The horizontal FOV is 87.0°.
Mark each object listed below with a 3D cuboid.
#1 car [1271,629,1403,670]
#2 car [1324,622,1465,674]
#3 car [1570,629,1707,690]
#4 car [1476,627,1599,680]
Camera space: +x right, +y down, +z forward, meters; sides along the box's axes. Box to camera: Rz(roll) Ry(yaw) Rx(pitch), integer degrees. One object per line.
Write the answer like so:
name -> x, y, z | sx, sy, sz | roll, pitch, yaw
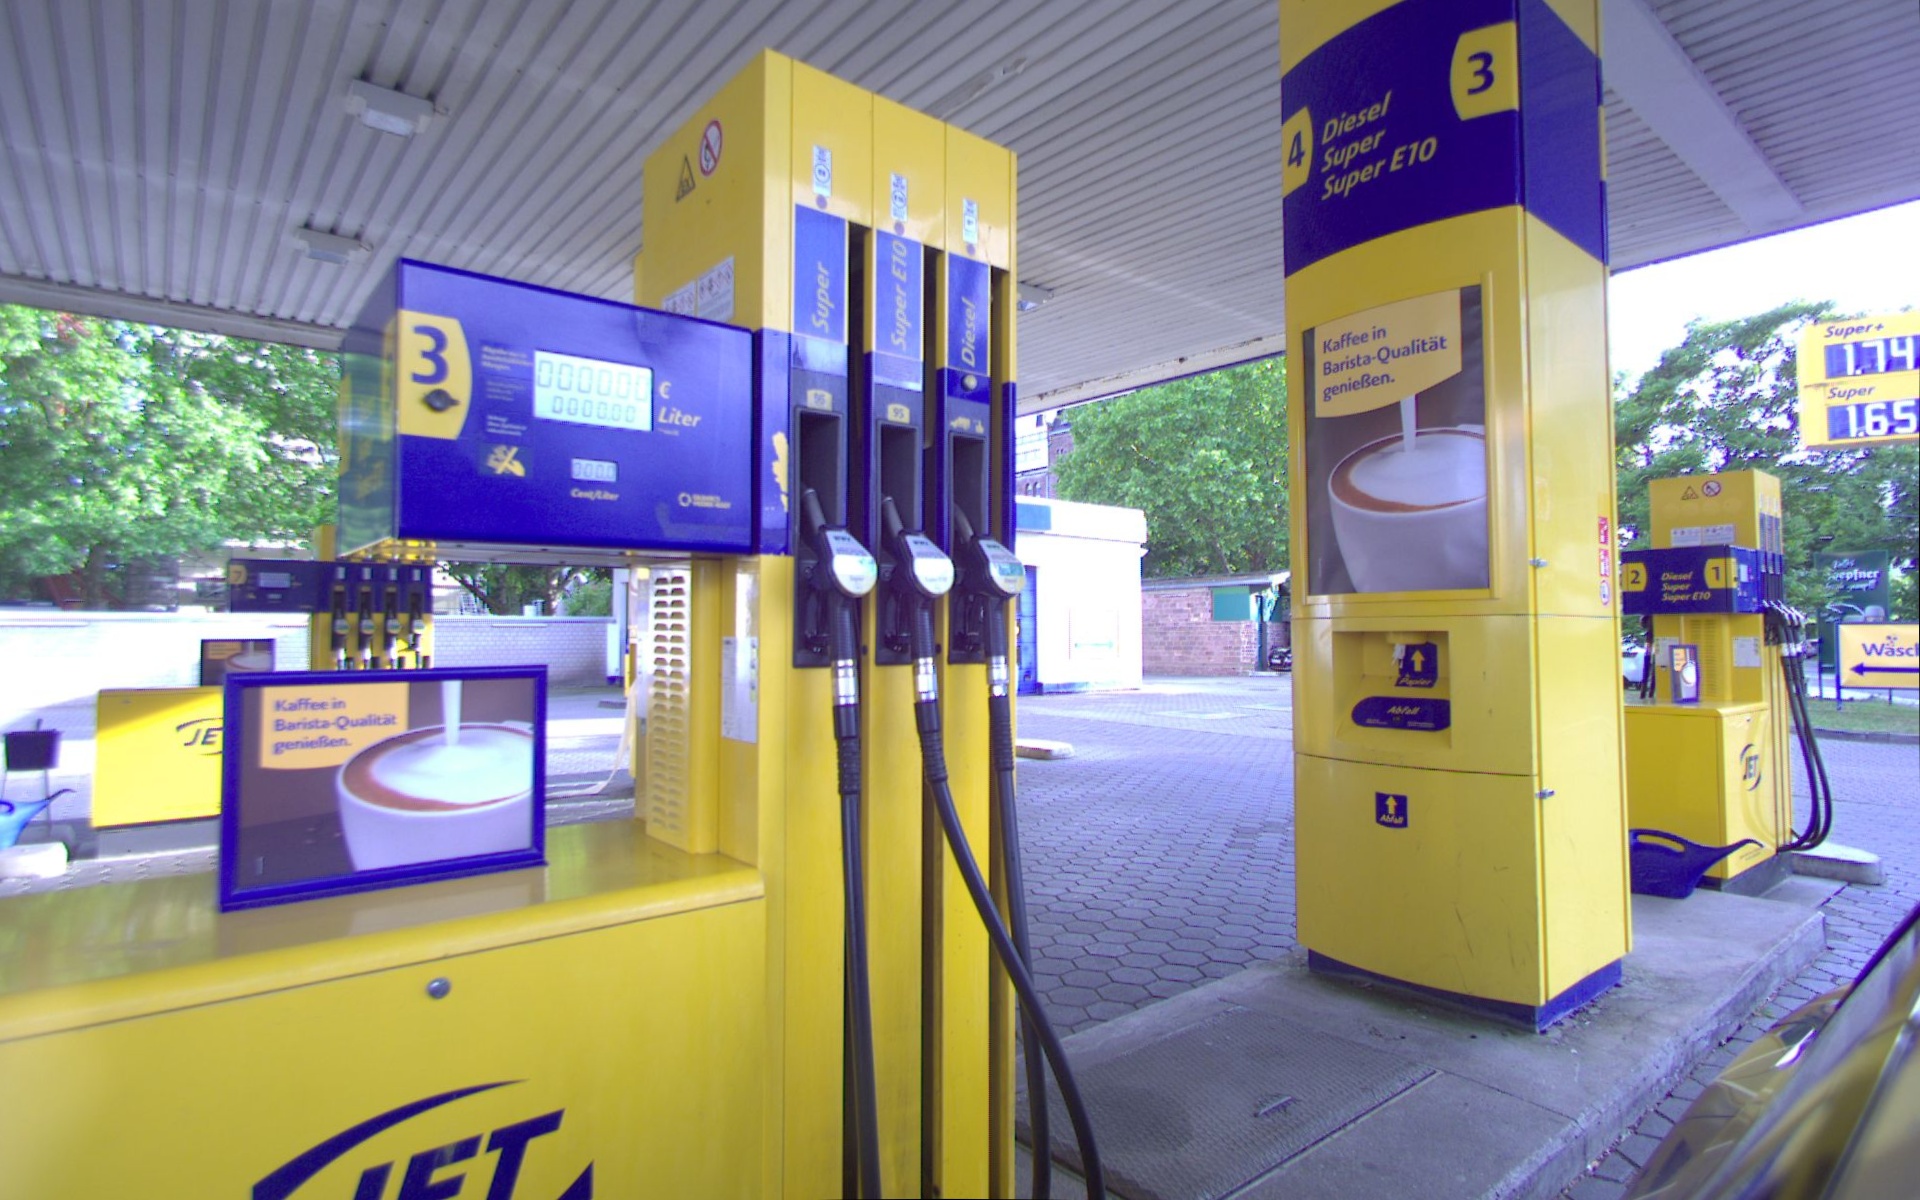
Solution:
car -> 12.846, 1.695, 34.505 | 4.134, 1.294, 1.751 | 2, -3, -22
car -> 13.806, 1.544, 32.156 | 4.134, 1.544, 1.791 | 2, -3, -24
car -> 18.237, 1.559, 27.169 | 3.923, 1.529, 1.740 | 2, -3, -35
car -> 17.572, 1.638, 30.757 | 3.923, 1.529, 1.740 | 3, -3, -35
